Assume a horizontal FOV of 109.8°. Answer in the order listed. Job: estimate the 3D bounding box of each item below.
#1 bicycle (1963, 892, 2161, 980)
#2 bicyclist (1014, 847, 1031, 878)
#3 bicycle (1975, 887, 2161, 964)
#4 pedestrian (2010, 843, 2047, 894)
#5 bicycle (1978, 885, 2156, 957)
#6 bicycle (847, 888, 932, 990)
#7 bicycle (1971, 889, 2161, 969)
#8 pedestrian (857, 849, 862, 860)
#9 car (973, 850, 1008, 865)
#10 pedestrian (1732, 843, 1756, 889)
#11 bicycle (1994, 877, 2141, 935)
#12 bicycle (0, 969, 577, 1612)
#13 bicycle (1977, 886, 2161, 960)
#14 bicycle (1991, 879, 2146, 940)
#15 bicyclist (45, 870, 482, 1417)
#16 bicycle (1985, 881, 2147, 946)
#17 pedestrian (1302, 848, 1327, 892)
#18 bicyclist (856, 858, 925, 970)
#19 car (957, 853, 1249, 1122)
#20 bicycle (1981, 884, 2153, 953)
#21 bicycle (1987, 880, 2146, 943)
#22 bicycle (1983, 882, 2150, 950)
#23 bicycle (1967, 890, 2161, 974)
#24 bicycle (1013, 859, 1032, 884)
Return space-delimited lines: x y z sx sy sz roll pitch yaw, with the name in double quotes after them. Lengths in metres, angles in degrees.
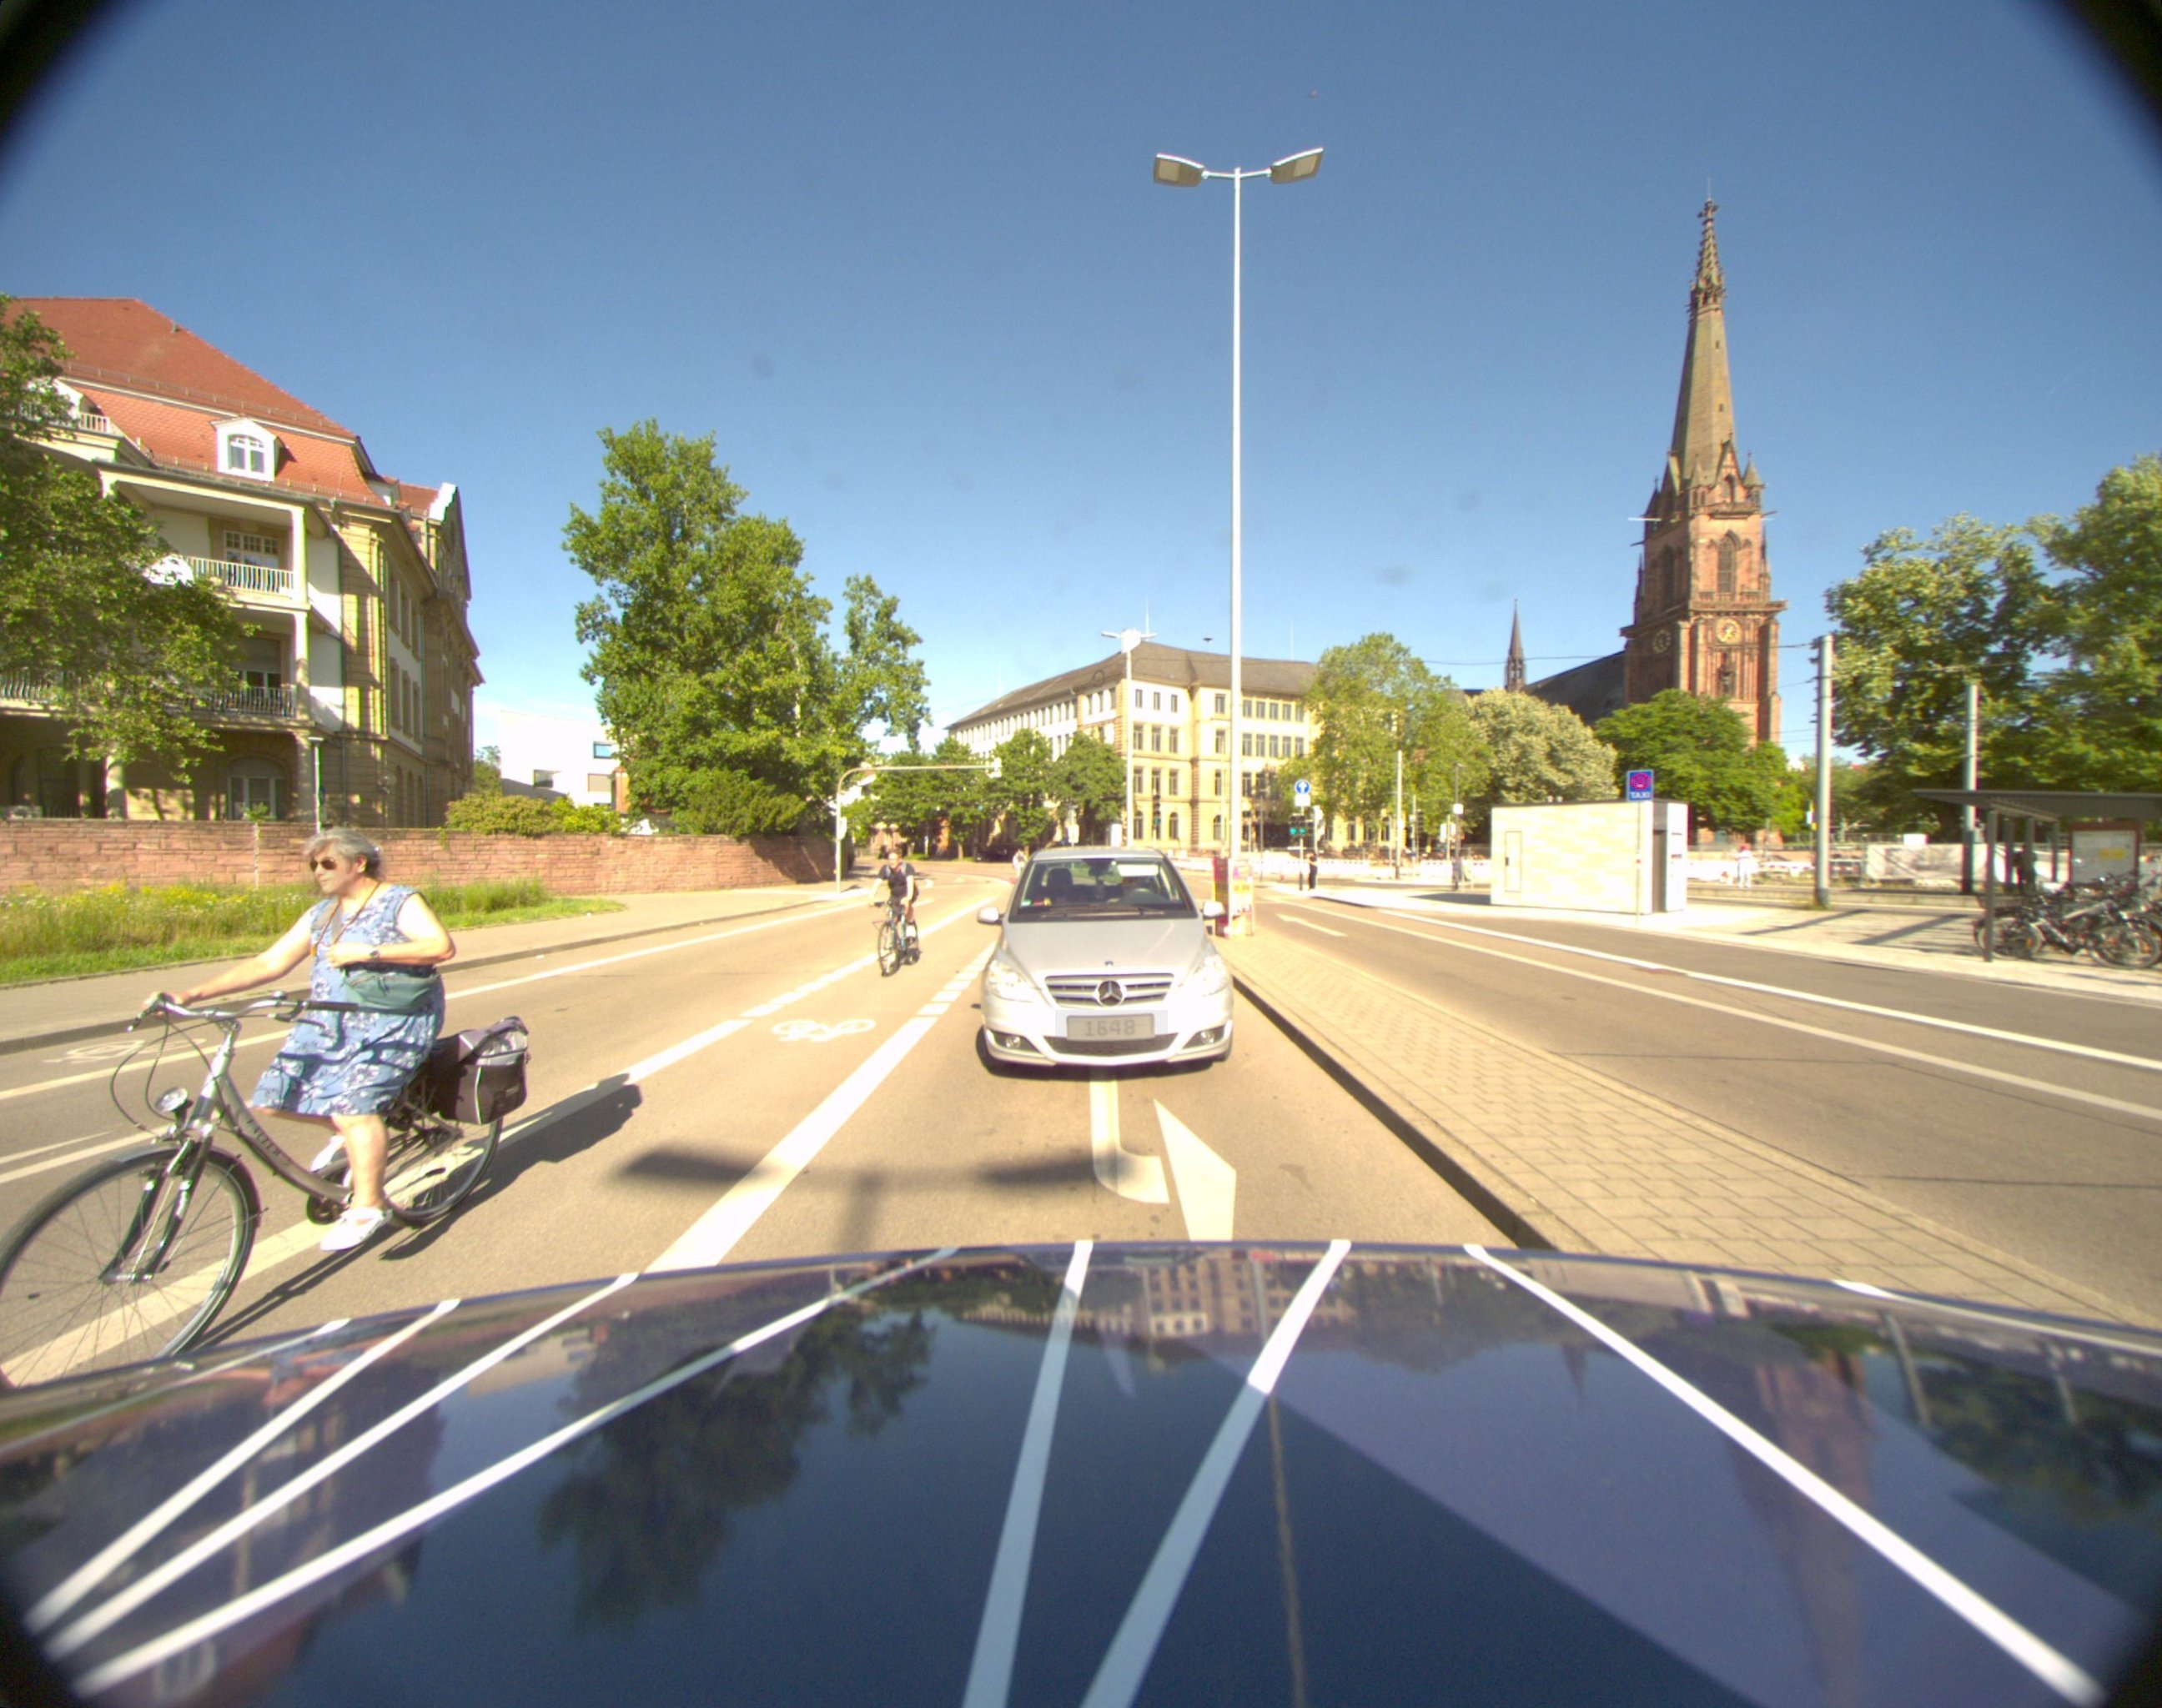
14.025 1.127 10.868 0.569 1.032 1.783 0 1 -37 "bicycle"
-2.935 0.427 38.183 0.778 1.543 0.919 -1 1 1 "bicyclist"
15.705 1.096 12.132 0.569 1.032 1.783 0 1 -37 "bicycle"
30.900 0.472 24.789 0.567 1.645 0.518 -2 1 1 "pedestrian"
16.680 1.102 12.917 0.569 1.032 1.783 0 1 -37 "bicycle"
-2.556 1.097 10.342 0.642 1.158 1.870 -1 0 1 "bicycle"
15.152 1.109 11.718 0.569 1.032 1.783 0 1 -37 "bicycle"
-34.074 0.113 116.967 0.636 1.602 0.845 -2 1 -13 "pedestrian"
-10.907 0.377 91.727 1.994 1.805 3.809 1 1 44 "car"
25.033 0.470 28.685 0.537 1.712 0.684 -1 -4 31 "pedestrian"
20.126 1.028 15.555 0.569 1.032 1.783 0 1 -37 "bicycle"
-2.798 1.153 2.713 0.642 1.158 1.967 -1 1 0 "bicycle"
16.202 1.094 12.524 0.569 1.032 1.783 0 1 -37 "bicycle"
19.138 1.041 14.778 0.569 1.032 1.783 0 1 -37 "bicycle"
-2.799 0.904 2.712 0.643 1.653 0.776 -1 2 0 "bicyclist"
18.169 1.066 14.070 0.569 1.032 1.783 0 1 -37 "bicycle"
9.262 0.626 30.141 0.789 1.671 0.648 -2 1 2 "pedestrian"
-2.559 0.776 10.298 0.643 1.436 0.953 -1 1 0 "bicyclist"
0.184 0.820 6.979 1.770 1.584 4.638 -1 1 1 "car"
17.172 1.091 13.292 0.569 1.032 1.783 0 1 -37 "bicycle"
18.653 1.054 14.433 0.569 1.032 1.783 0 1 -37 "bicycle"
17.697 1.080 13.704 0.569 1.032 1.783 0 1 -37 "bicycle"
14.549 1.117 11.259 0.569 1.032 1.783 0 1 -37 "bicycle"
-2.927 0.866 38.145 0.778 1.158 1.968 -1 1 1 "bicycle"
